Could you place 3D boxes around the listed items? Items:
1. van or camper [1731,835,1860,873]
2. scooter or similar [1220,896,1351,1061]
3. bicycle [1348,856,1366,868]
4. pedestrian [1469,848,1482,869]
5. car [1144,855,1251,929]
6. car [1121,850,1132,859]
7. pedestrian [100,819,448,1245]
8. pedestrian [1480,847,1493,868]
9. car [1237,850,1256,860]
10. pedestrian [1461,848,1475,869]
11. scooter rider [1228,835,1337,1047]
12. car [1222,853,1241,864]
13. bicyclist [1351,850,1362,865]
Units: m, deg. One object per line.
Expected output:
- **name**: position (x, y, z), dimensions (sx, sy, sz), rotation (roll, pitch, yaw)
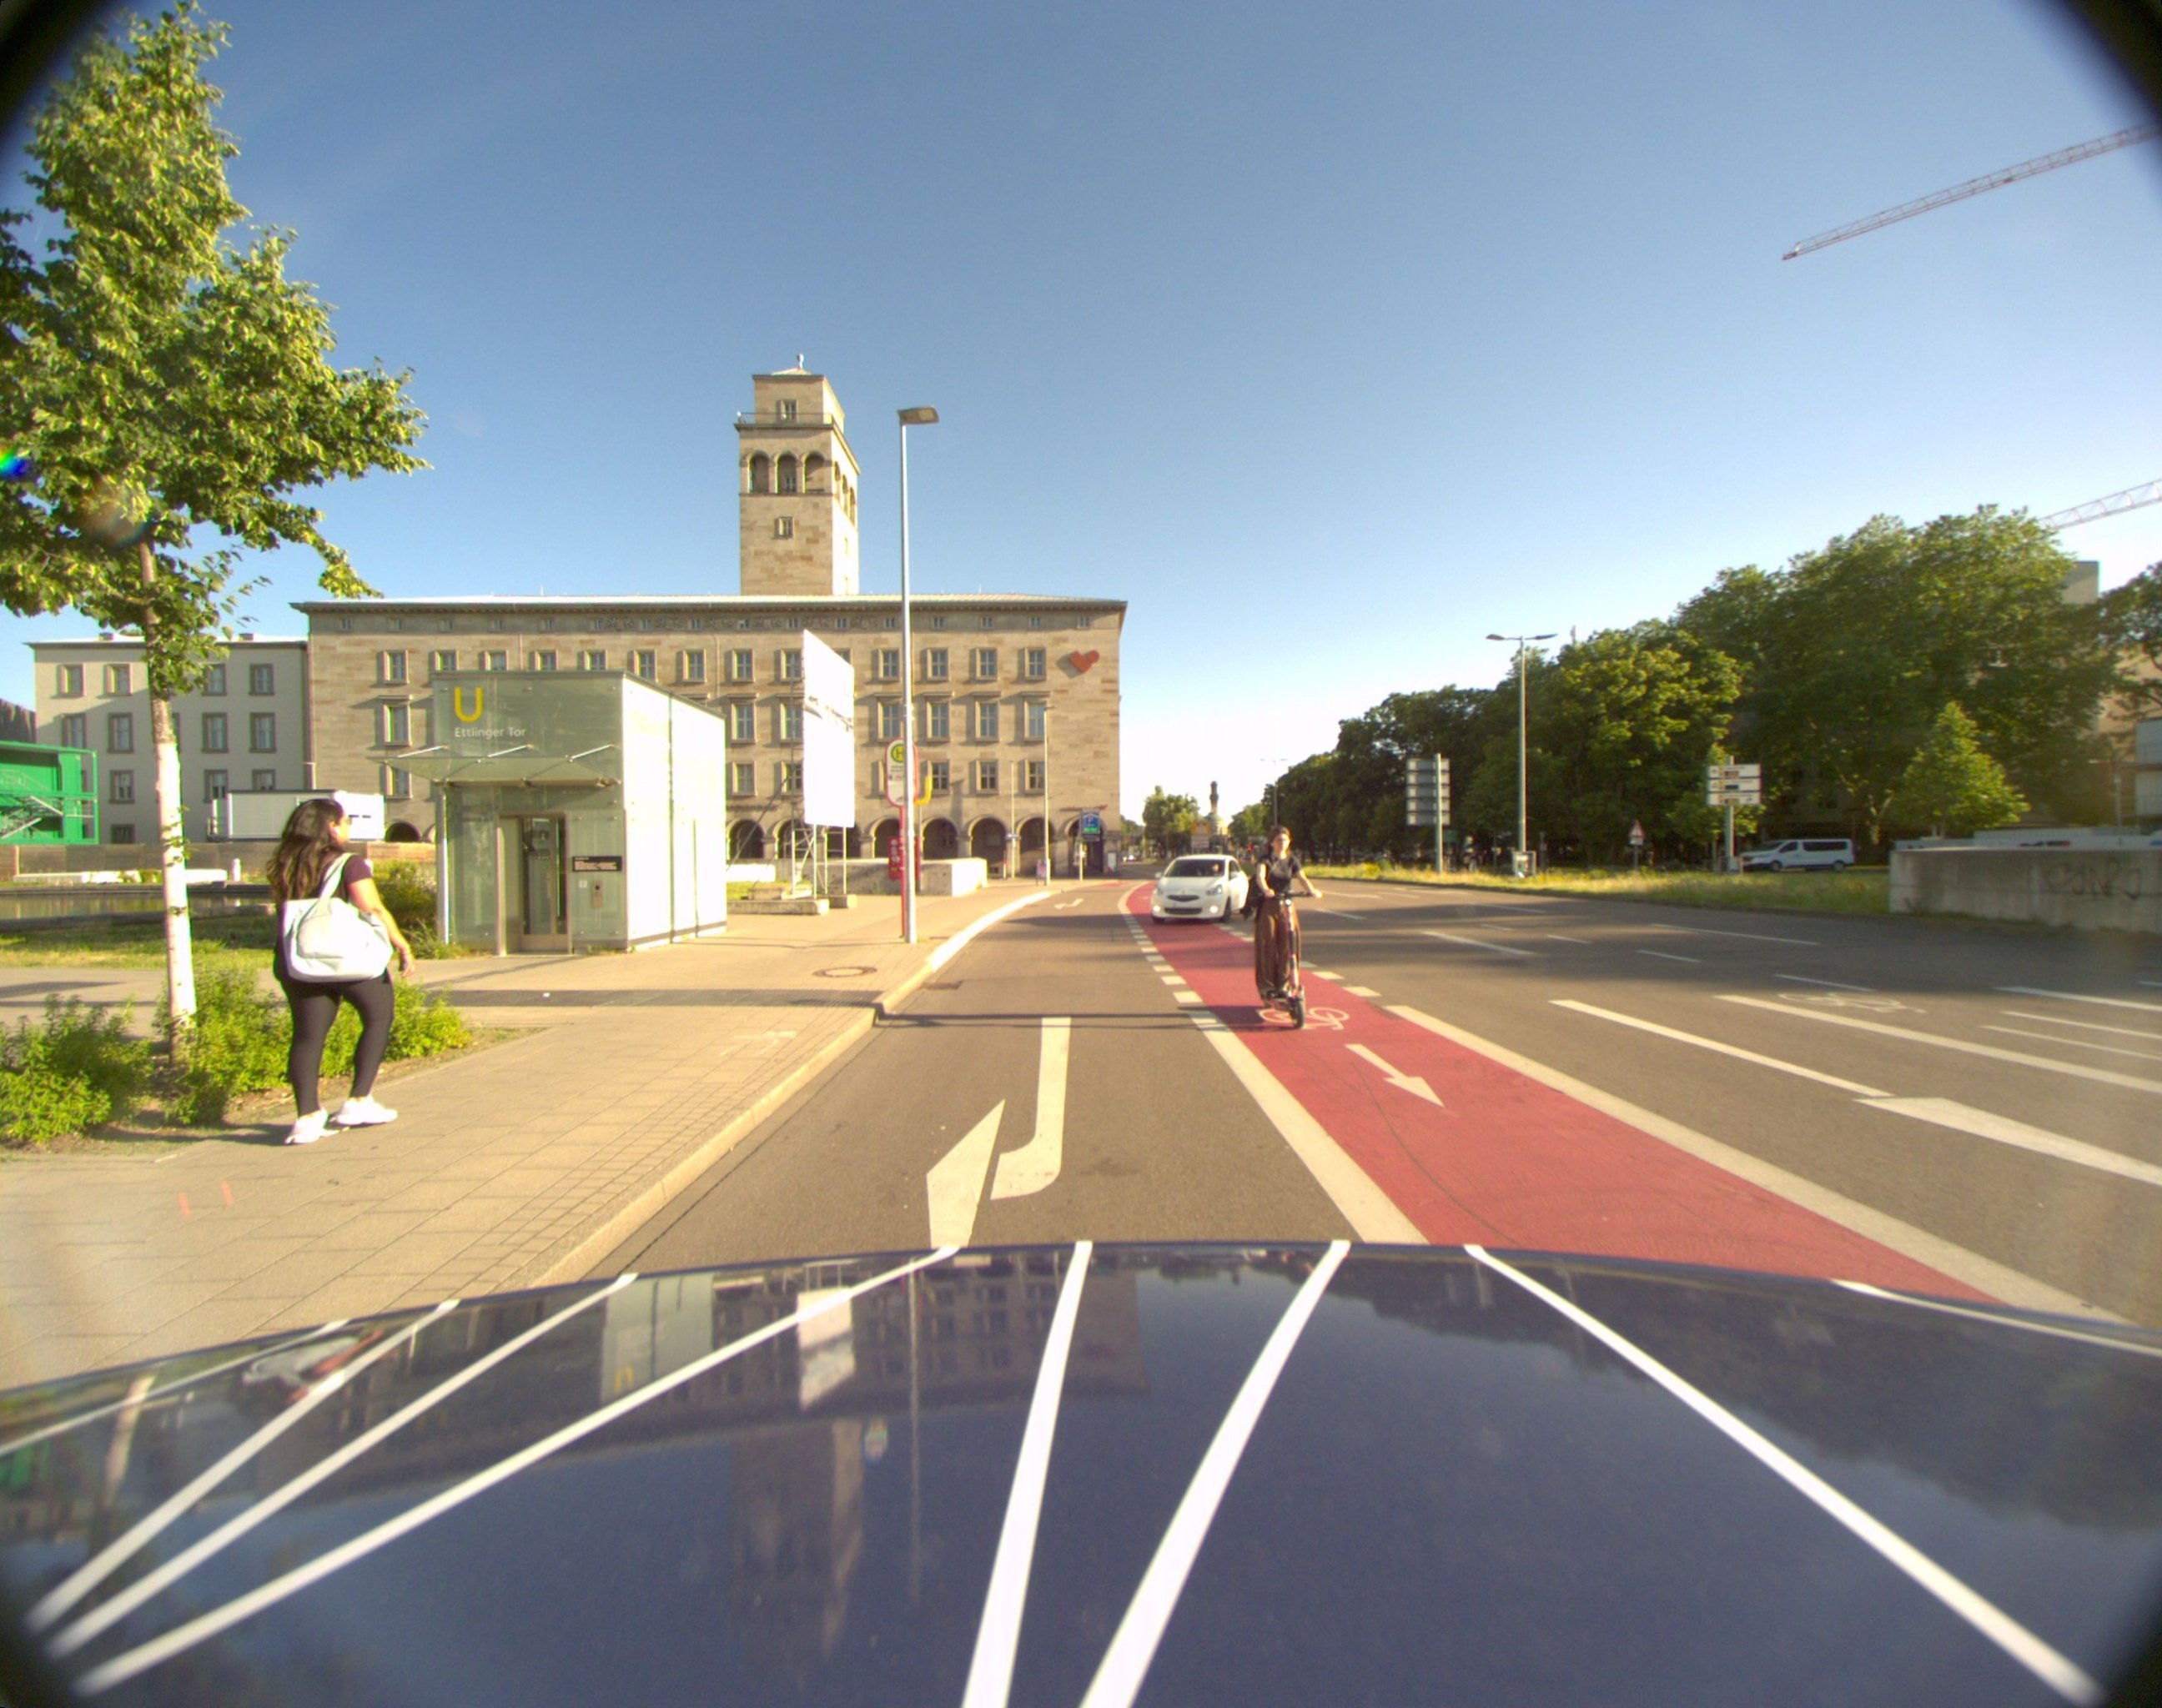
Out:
- **van or camper**: position (42.297, -0.020, 45.077), dimensions (5.649, 2.002, 1.948), rotation (-2, 1, 2)
- **scooter or similar**: position (1.775, 1.029, 6.847), dimensions (0.730, 1.195, 1.664), rotation (-1, 0, 1)
- **bicycle**: position (24.613, 0.677, 67.812), dimensions (0.639, 1.016, 2.242), rotation (-1, 0, -4)
- **pedestrian**: position (32.808, 0.338, 63.155), dimensions (0.665, 1.715, 0.762), rotation (-1, 1, 1)
- **car**: position (2.812, 0.803, 17.612), dimensions (1.676, 1.440, 3.894), rotation (-2, 0, 20)
- **car**: position (8.661, 0.154, 144.973), dimensions (1.998, 1.652, 4.000), rotation (-1, 0, 1)
- **pedestrian**: position (-3.933, 0.737, 3.859), dimensions (0.944, 1.776, 1.070), rotation (-1, 1, -33)
- **pedestrian**: position (33.626, 0.308, 63.053), dimensions (0.707, 1.715, 0.762), rotation (-1, 1, 1)
- **car**: position (26.040, 0.207, 119.549), dimensions (1.999, 1.499, 3.998), rotation (-1, 0, -3)
- **pedestrian**: position (32.110, 0.367, 63.039), dimensions (0.707, 1.715, 0.762), rotation (-1, 1, 1)
- **scooter rider**: position (1.766, 0.729, 6.767), dimensions (0.730, 1.764, 0.811), rotation (-1, 1, 1)
- **car**: position (21.361, 0.616, 107.764), dimensions (1.872, 1.390, 3.999), rotation (-1, 0, -1)
- **bicyclist**: position (24.600, 0.319, 67.923), dimensions (0.639, 1.275, 0.885), rotation (-1, 1, -4)
